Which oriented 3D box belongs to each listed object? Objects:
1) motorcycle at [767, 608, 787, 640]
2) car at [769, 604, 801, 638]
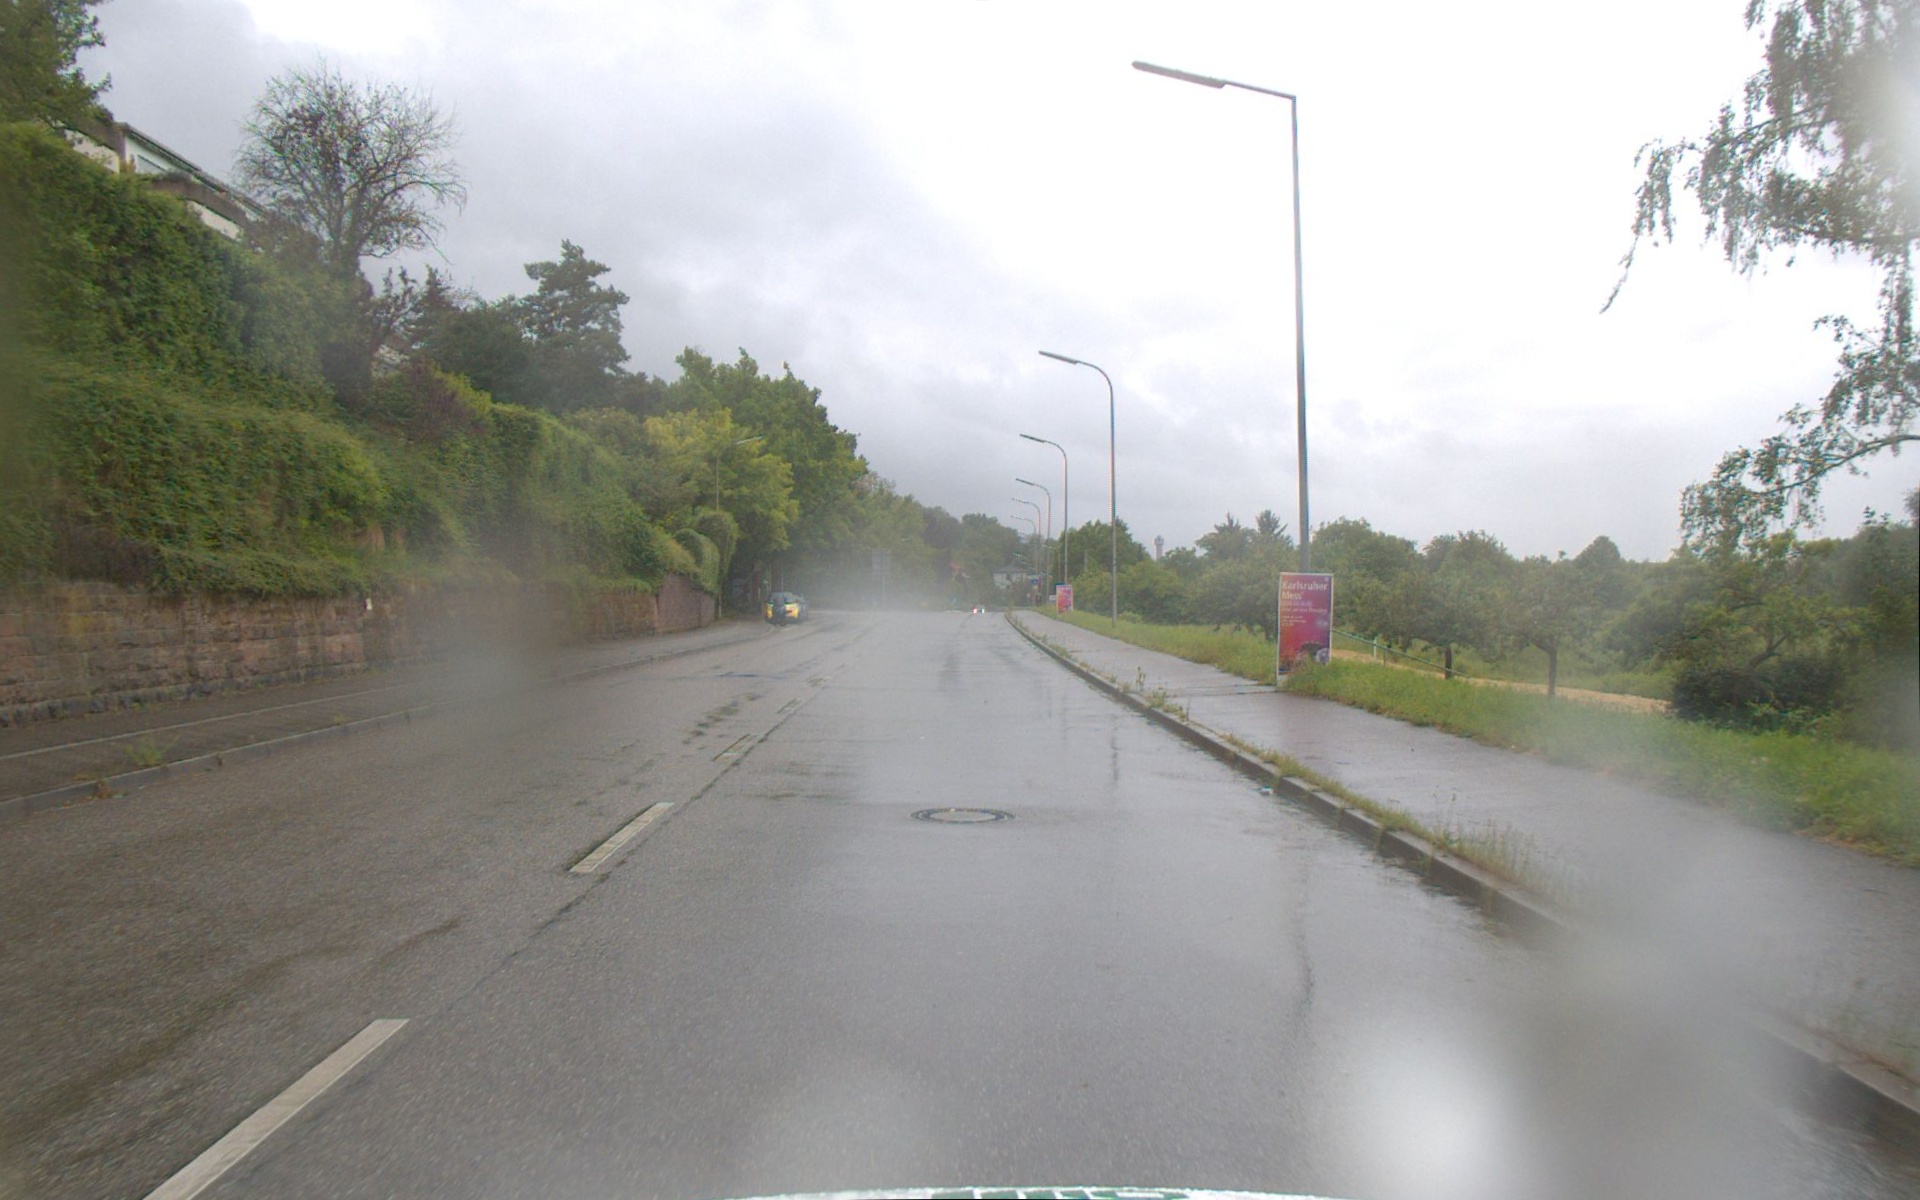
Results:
[{"bbox_3d":[-7.996,1.040,72.278,0.821,1.364,2.496,-1,0,-6],"label":"motorcycle"},{"bbox_3d":[-8.397,0.972,79.089,1.406,1.564,2.814,-1,0,-8],"label":"car"}]
